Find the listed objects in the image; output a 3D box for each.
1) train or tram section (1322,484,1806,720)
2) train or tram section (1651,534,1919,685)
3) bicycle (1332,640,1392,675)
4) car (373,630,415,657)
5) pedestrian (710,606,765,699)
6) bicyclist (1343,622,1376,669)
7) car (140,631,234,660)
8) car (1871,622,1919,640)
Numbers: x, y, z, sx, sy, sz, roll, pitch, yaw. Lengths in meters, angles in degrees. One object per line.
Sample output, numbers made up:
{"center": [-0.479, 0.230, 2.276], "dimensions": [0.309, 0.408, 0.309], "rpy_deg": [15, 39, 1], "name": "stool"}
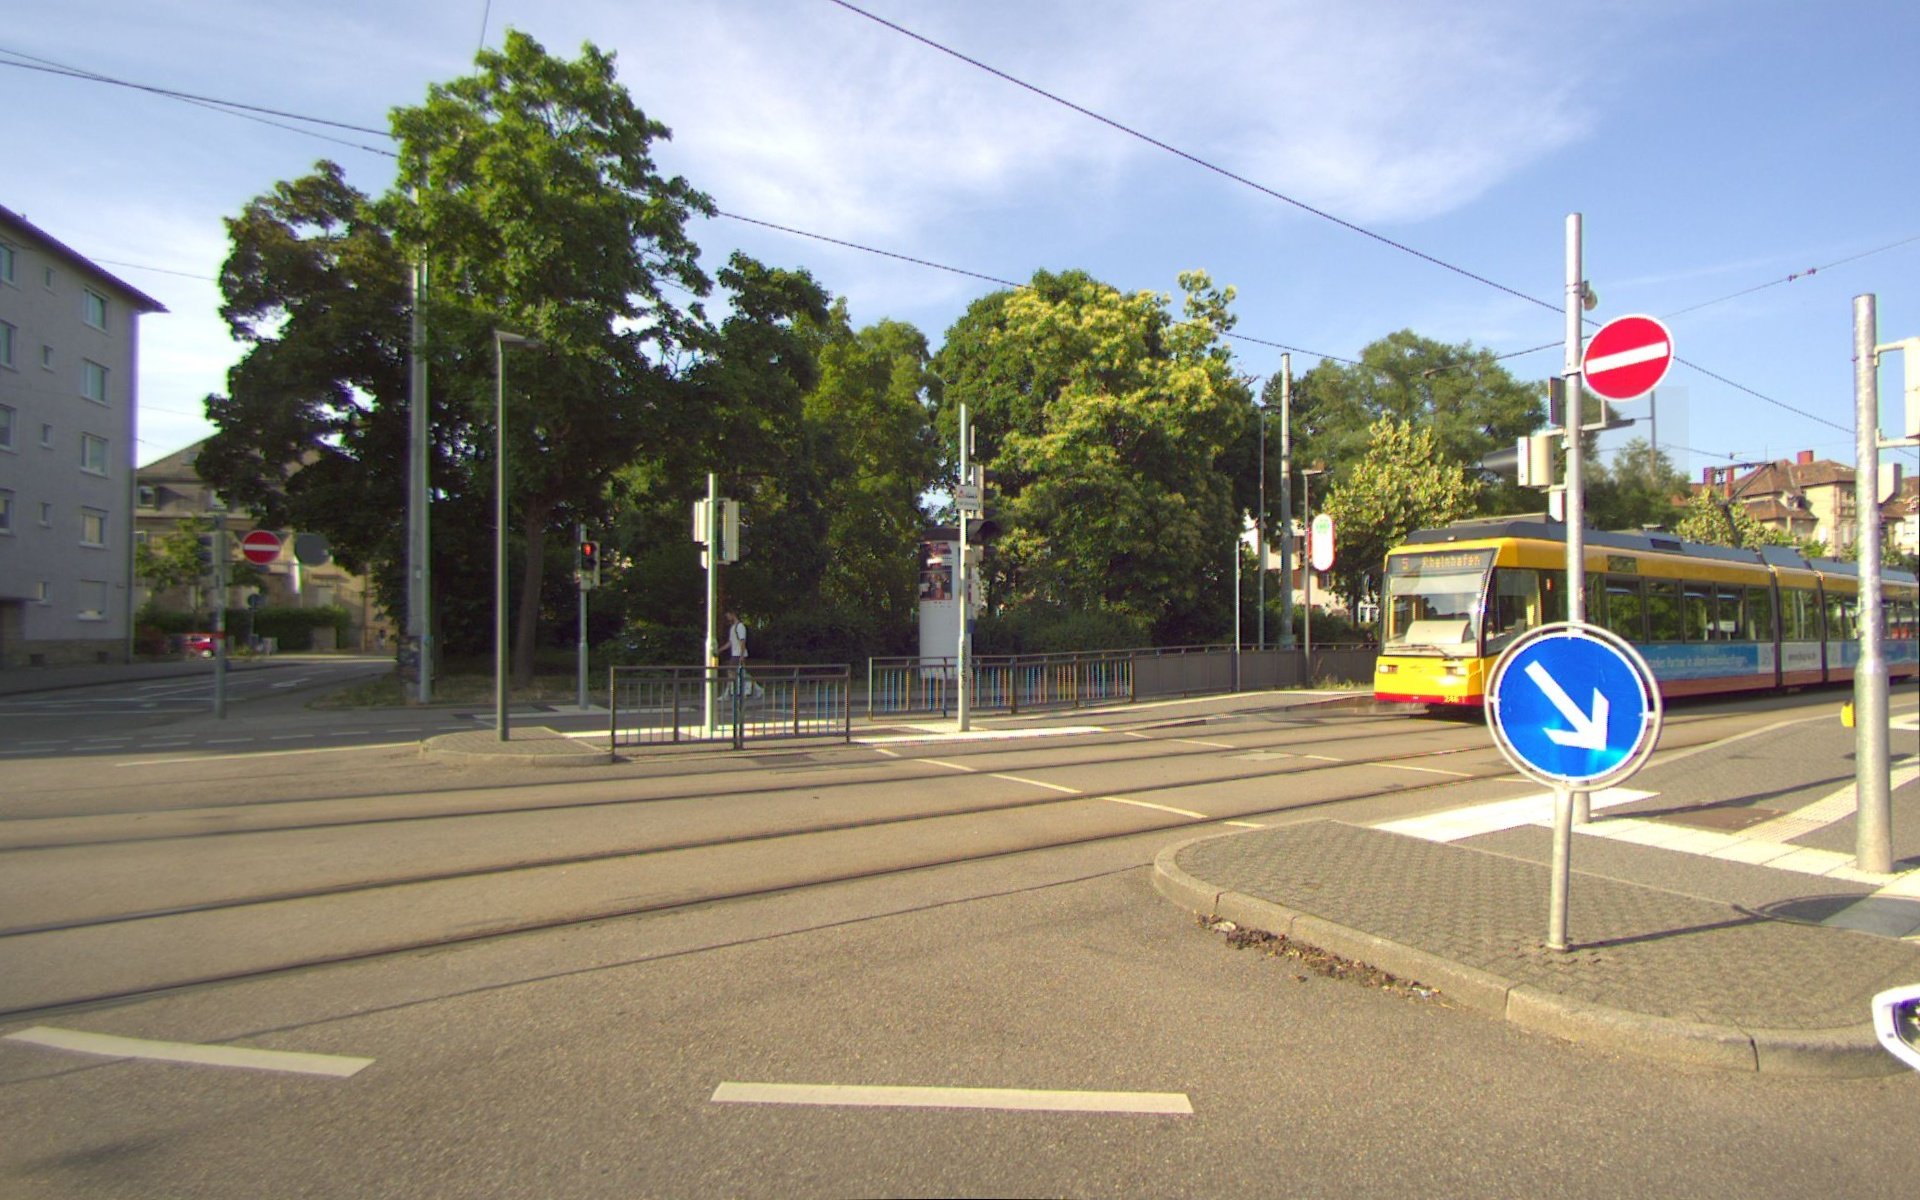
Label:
{"center": [13.044, 0.137, 20.510], "dimensions": [14.391, 3.525, 3.140], "rpy_deg": [1, -1, -36], "name": "train or tram section"}
{"center": [24.595, 0.322, 28.950], "dimensions": [14.331, 3.525, 3.140], "rpy_deg": [1, -1, -36], "name": "train or tram section"}
{"center": [12.579, 1.792, 31.381], "dimensions": [2.225, 1.032, 0.539], "rpy_deg": [1, -1, -32], "name": "bicycle"}
{"center": [-39.380, 2.980, 69.928], "dimensions": [1.971, 1.748, 3.980], "rpy_deg": [1, -1, -22], "name": "car"}
{"center": [-4.739, 1.094, 21.362], "dimensions": [0.991, 1.935, 0.704], "rpy_deg": [0, -1, 42], "name": "pedestrian"}
{"center": [12.452, 1.417, 31.318], "dimensions": [0.709, 1.432, 0.647], "rpy_deg": [1, -1, -32], "name": "bicyclist"}
{"center": [-46.079, 2.687, 59.939], "dimensions": [3.934, 1.666, 1.994], "rpy_deg": [1, -1, -16], "name": "car"}
{"center": [89.721, 2.940, 95.581], "dimensions": [4.634, 1.649, 2.206], "rpy_deg": [0, -1, -12], "name": "car"}
